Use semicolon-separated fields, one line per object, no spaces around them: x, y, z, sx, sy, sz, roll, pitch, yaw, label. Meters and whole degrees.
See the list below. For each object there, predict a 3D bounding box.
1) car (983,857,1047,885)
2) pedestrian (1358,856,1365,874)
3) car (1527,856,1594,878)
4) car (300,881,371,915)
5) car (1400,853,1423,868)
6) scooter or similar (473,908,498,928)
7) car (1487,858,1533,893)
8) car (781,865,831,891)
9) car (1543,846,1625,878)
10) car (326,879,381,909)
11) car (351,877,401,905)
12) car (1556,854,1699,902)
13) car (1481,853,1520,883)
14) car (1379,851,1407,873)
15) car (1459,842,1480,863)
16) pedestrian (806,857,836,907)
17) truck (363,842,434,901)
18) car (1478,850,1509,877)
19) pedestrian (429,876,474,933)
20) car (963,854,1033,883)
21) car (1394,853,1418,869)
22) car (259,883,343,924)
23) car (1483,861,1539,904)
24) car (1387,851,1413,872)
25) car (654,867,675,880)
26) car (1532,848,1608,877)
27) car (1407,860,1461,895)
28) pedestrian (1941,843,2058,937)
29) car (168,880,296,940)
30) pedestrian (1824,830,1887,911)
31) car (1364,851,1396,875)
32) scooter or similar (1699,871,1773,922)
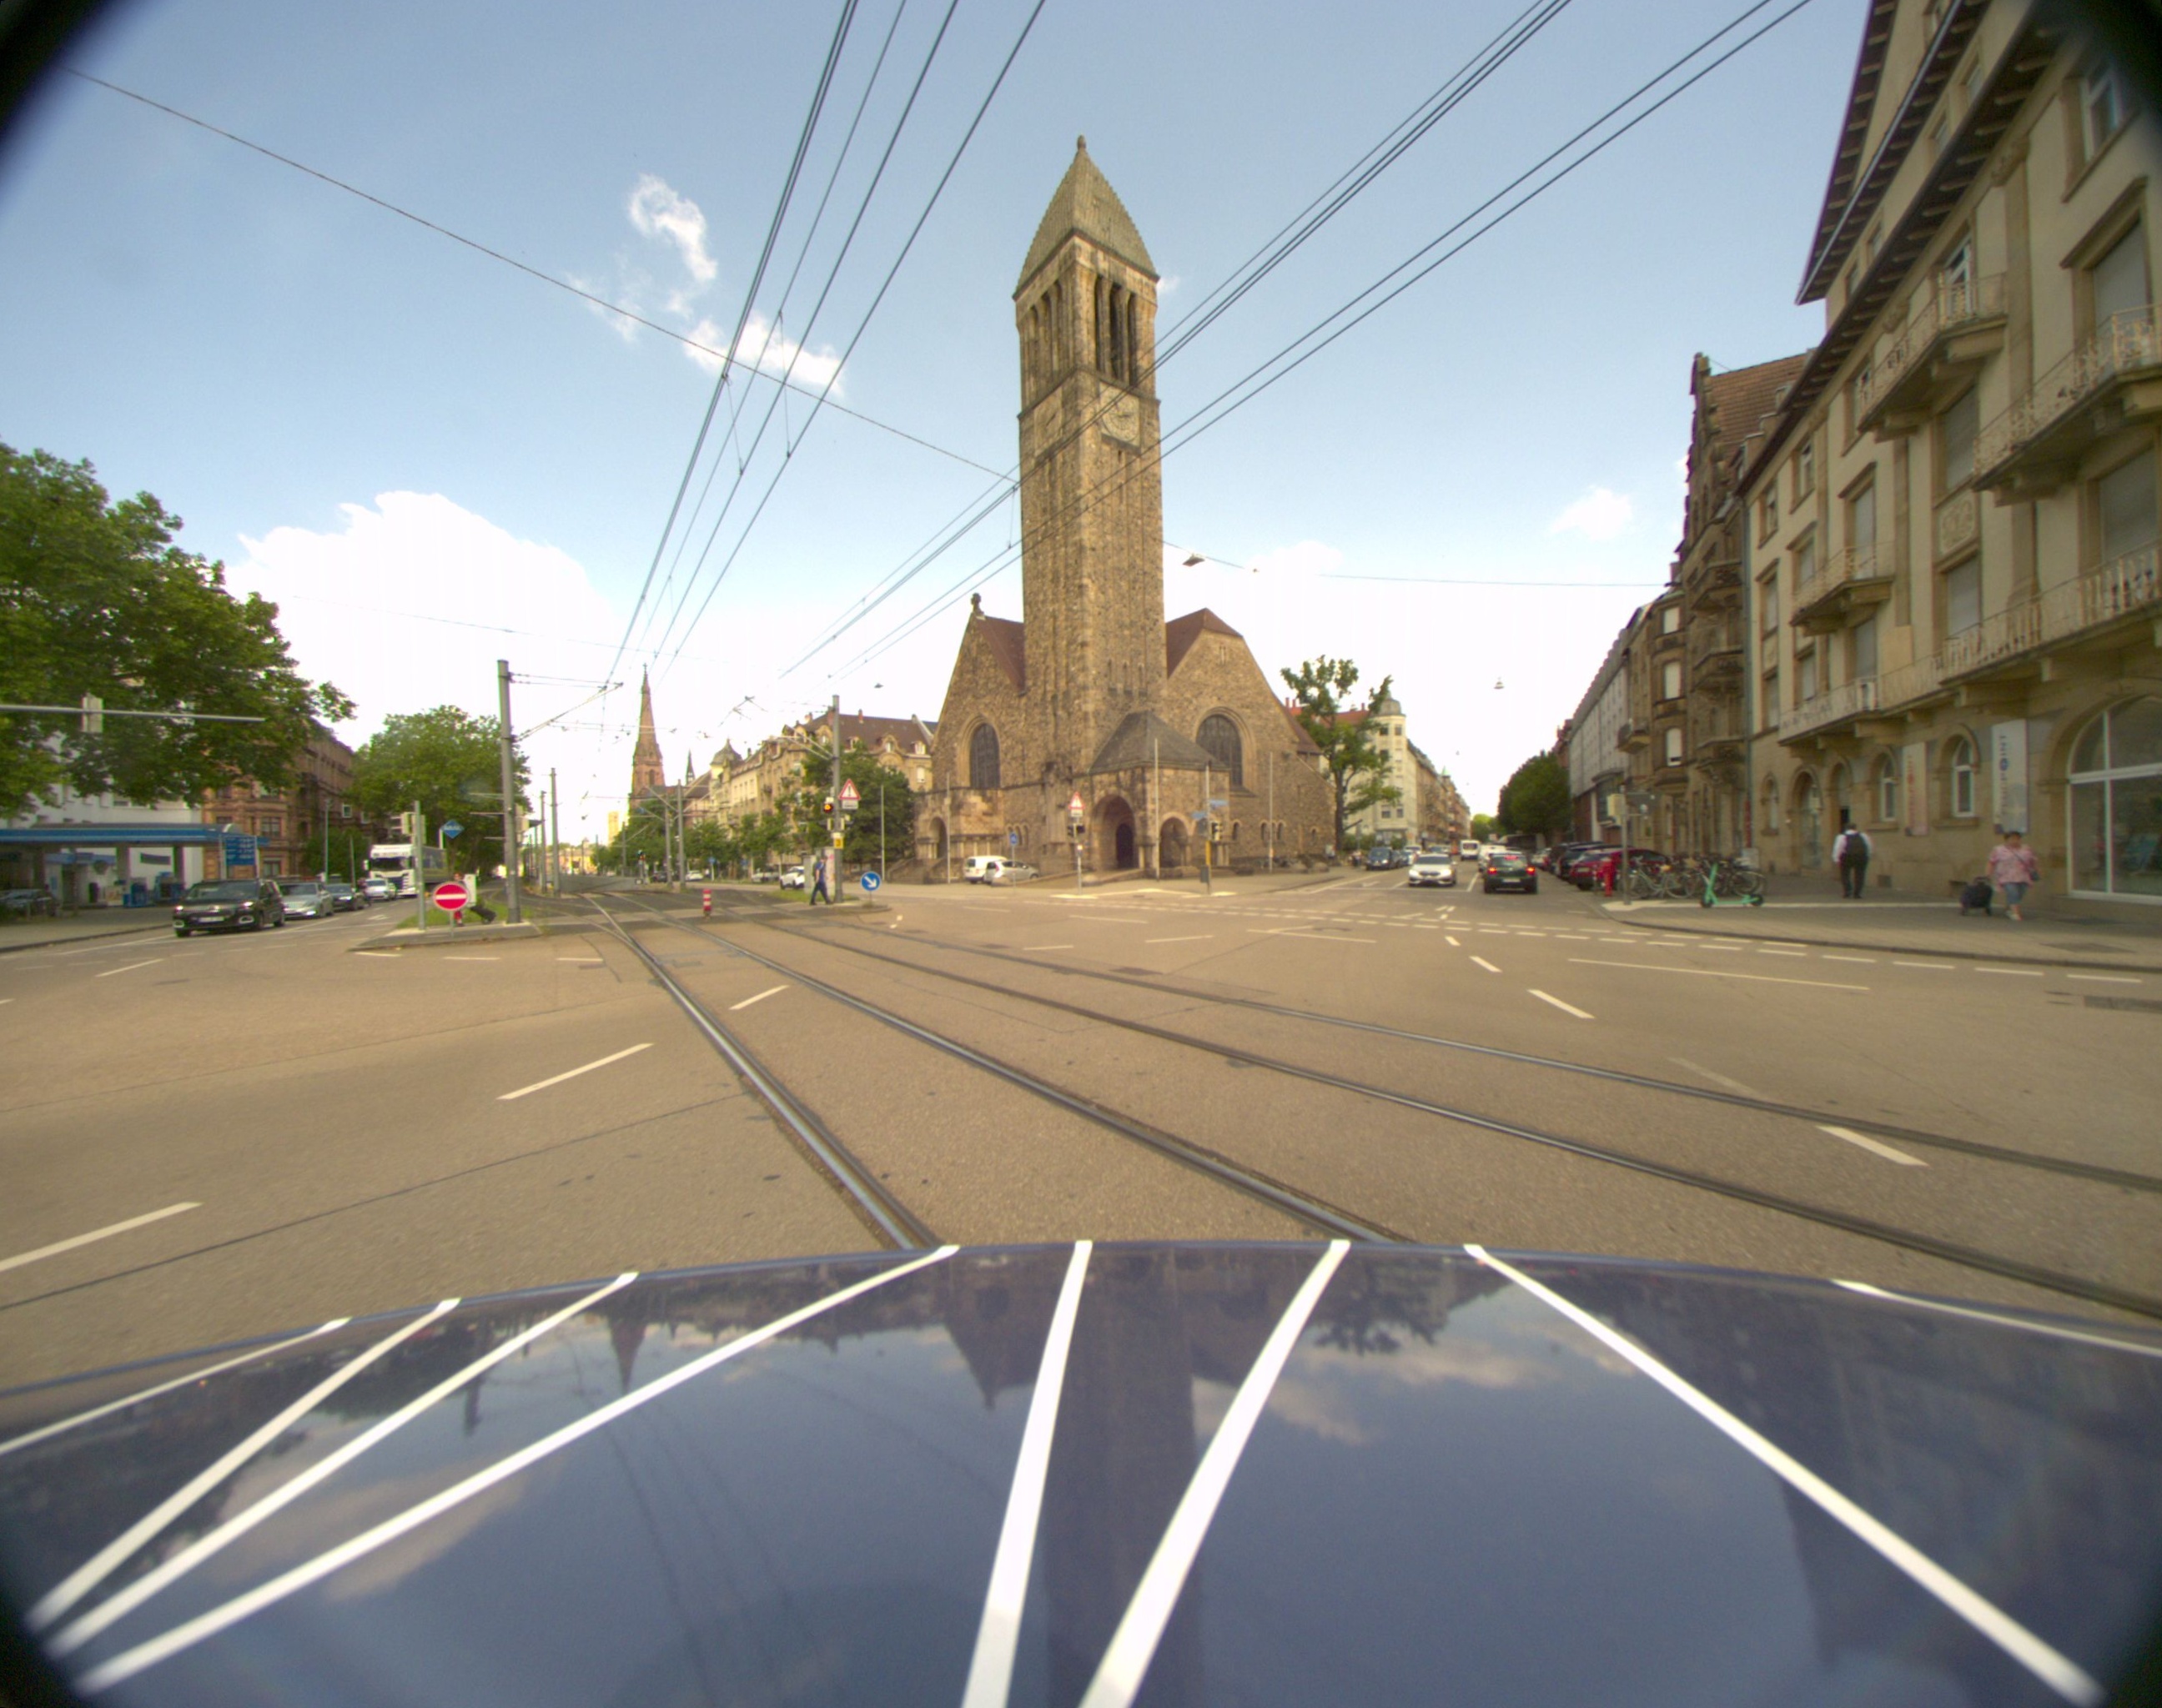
-4.199;1.102;48.388;3.645;1.668;1.814;1;-3;-39;car
22.705;0.892;61.519;0.465;1.447;0.557;-1;0;24;pedestrian
34.404;0.909;54.564;3.955;1.465;1.730;-1;0;-10;car
-37.095;2.150;37.904;1.858;1.438;3.963;-1;0;-35;car
33.910;0.669;77.982;1.680;1.487;3.898;-1;0;30;car
-17.077;1.837;21.786;0.309;0.532;0.522;-1;-2;41;scooter or similar
19.849;0.959;35.272;1.748;1.531;3.939;-1;0;28;car
-16.980;1.469;46.830;1.823;1.497;4.120;-2;0;-36;car
30.699;0.484;46.426;3.954;1.576;1.730;-4;-1;-10;car
-40.641;2.197;42.515;1.689;1.554;3.743;-1;0;-36;car
-46.841;2.414;50.559;1.858;1.695;4.124;-1;0;-35;car
19.733;0.853;27.525;4.000;1.448;1.811;-3;-2;-9;car
23.646;0.770;42.939;1.772;1.573;4.027;-1;0;27;car
26.186;0.635;63.709;1.680;1.780;4.008;-1;0;30;car
46.920;-0.133;91.630;2.077;2.430;5.957;1;0;28;car
-9.169;0.973;26.752;0.774;1.721;0.742;-1;0;-37;pedestrian
-51.069;1.222;57.044;2.922;4.125;6.574;-2;1;-34;truck
28.443;0.656;52.445;1.813;1.765;4.292;0;-1;28;car
-17.463;1.387;21.087;0.656;1.483;0.777;-1;3;41;pedestrian
-5.602;0.999;51.459;4.314;1.842;1.995;0;-2;-37;car
31.400;0.673;73.447;1.680;1.438;3.805;-1;0;30;car
-32.712;2.019;31.981;1.737;1.457;4.316;-1;0;-36;car
16.145;1.024;28.601;1.714;1.425;3.825;0;1;29;car
29.124;0.682;69.267;1.680;1.780;4.008;-1;0;30;car
-51.254;2.372;93.500;1.788;1.525;4.375;0;-1;-35;car
31.854;0.543;49.541;3.955;1.575;1.730;-4;-2;-10;car
16.148;1.017;34.619;1.823;1.440;4.394;1;1;30;car
16.463;0.640;13.661;0.942;1.585;0.998;-5;-2;30;pedestrian
-28.067;1.779;25.307;1.858;1.716;4.408;-1;0;-35;car
18.457;0.385;18.122;0.803;1.850;0.907;-2;2;29;pedestrian
23.335;0.688;59.168;1.680;1.780;4.153;-1;0;30;car
15.614;1.017;18.132;0.482;1.139;1.250;-3;-1;-43;scooter or similar
